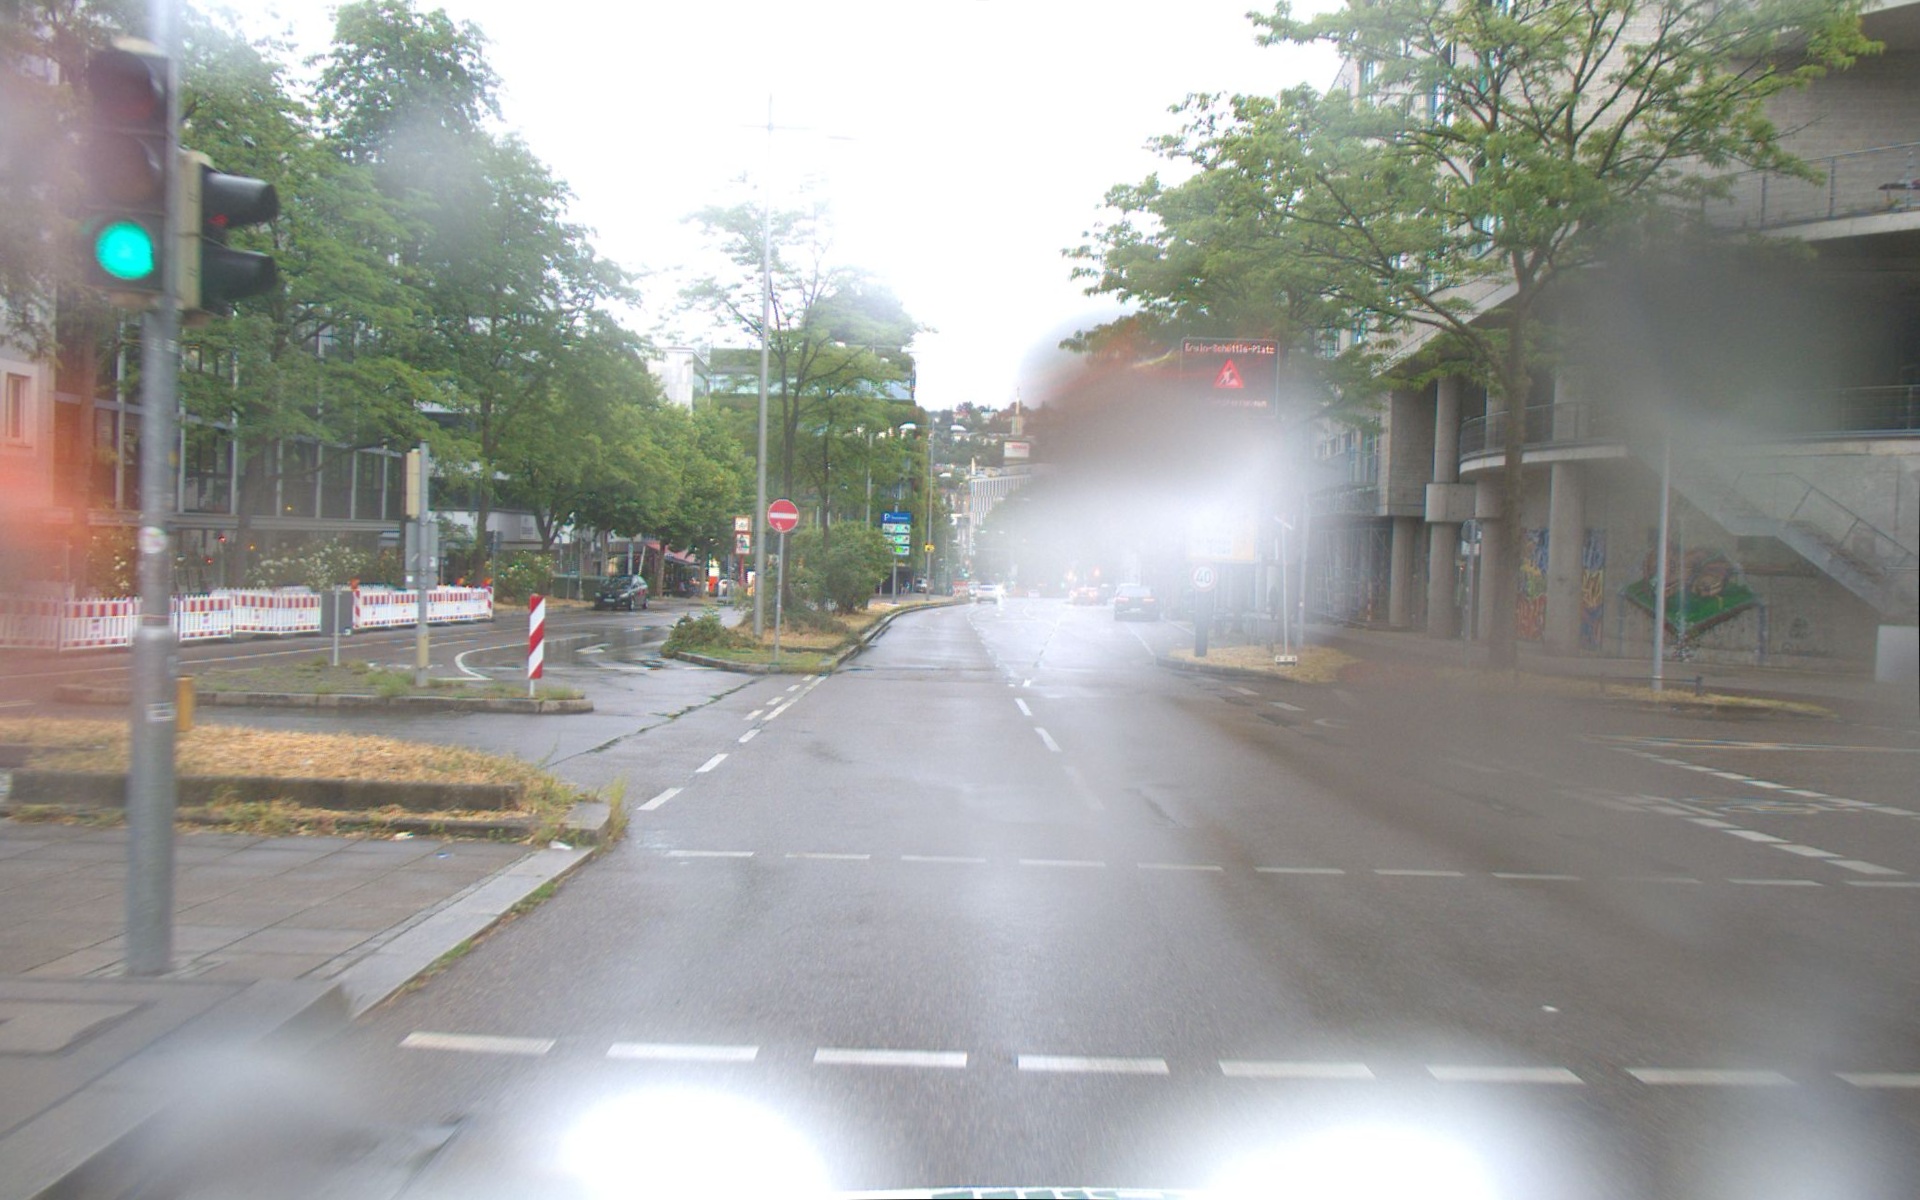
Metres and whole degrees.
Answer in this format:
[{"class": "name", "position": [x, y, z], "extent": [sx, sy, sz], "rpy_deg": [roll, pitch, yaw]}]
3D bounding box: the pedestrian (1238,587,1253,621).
[{"class": "pedestrian", "position": [16.817, 0.240, 97.374], "extent": [0.759, 1.954, 0.702], "rpy_deg": [1, -1, -1]}]

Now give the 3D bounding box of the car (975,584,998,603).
[{"class": "car", "position": [2.397, -0.575, 150.178], "extent": [1.792, 1.668, 4.298], "rpy_deg": [2, 0, -2]}]

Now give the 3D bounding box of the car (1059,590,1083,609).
[{"class": "car", "position": [10.683, -0.023, 159.748], "extent": [1.953, 1.766, 3.999], "rpy_deg": [1, -1, -1]}]

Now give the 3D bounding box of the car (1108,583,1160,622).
[{"class": "car", "position": [8.047, 0.103, 76.450], "extent": [2.288, 1.721, 4.003], "rpy_deg": [1, 0, 6]}]

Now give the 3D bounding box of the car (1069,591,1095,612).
[{"class": "car", "position": [10.933, 0.133, 148.769], "extent": [1.953, 1.754, 3.999], "rpy_deg": [1, -1, -1]}]
